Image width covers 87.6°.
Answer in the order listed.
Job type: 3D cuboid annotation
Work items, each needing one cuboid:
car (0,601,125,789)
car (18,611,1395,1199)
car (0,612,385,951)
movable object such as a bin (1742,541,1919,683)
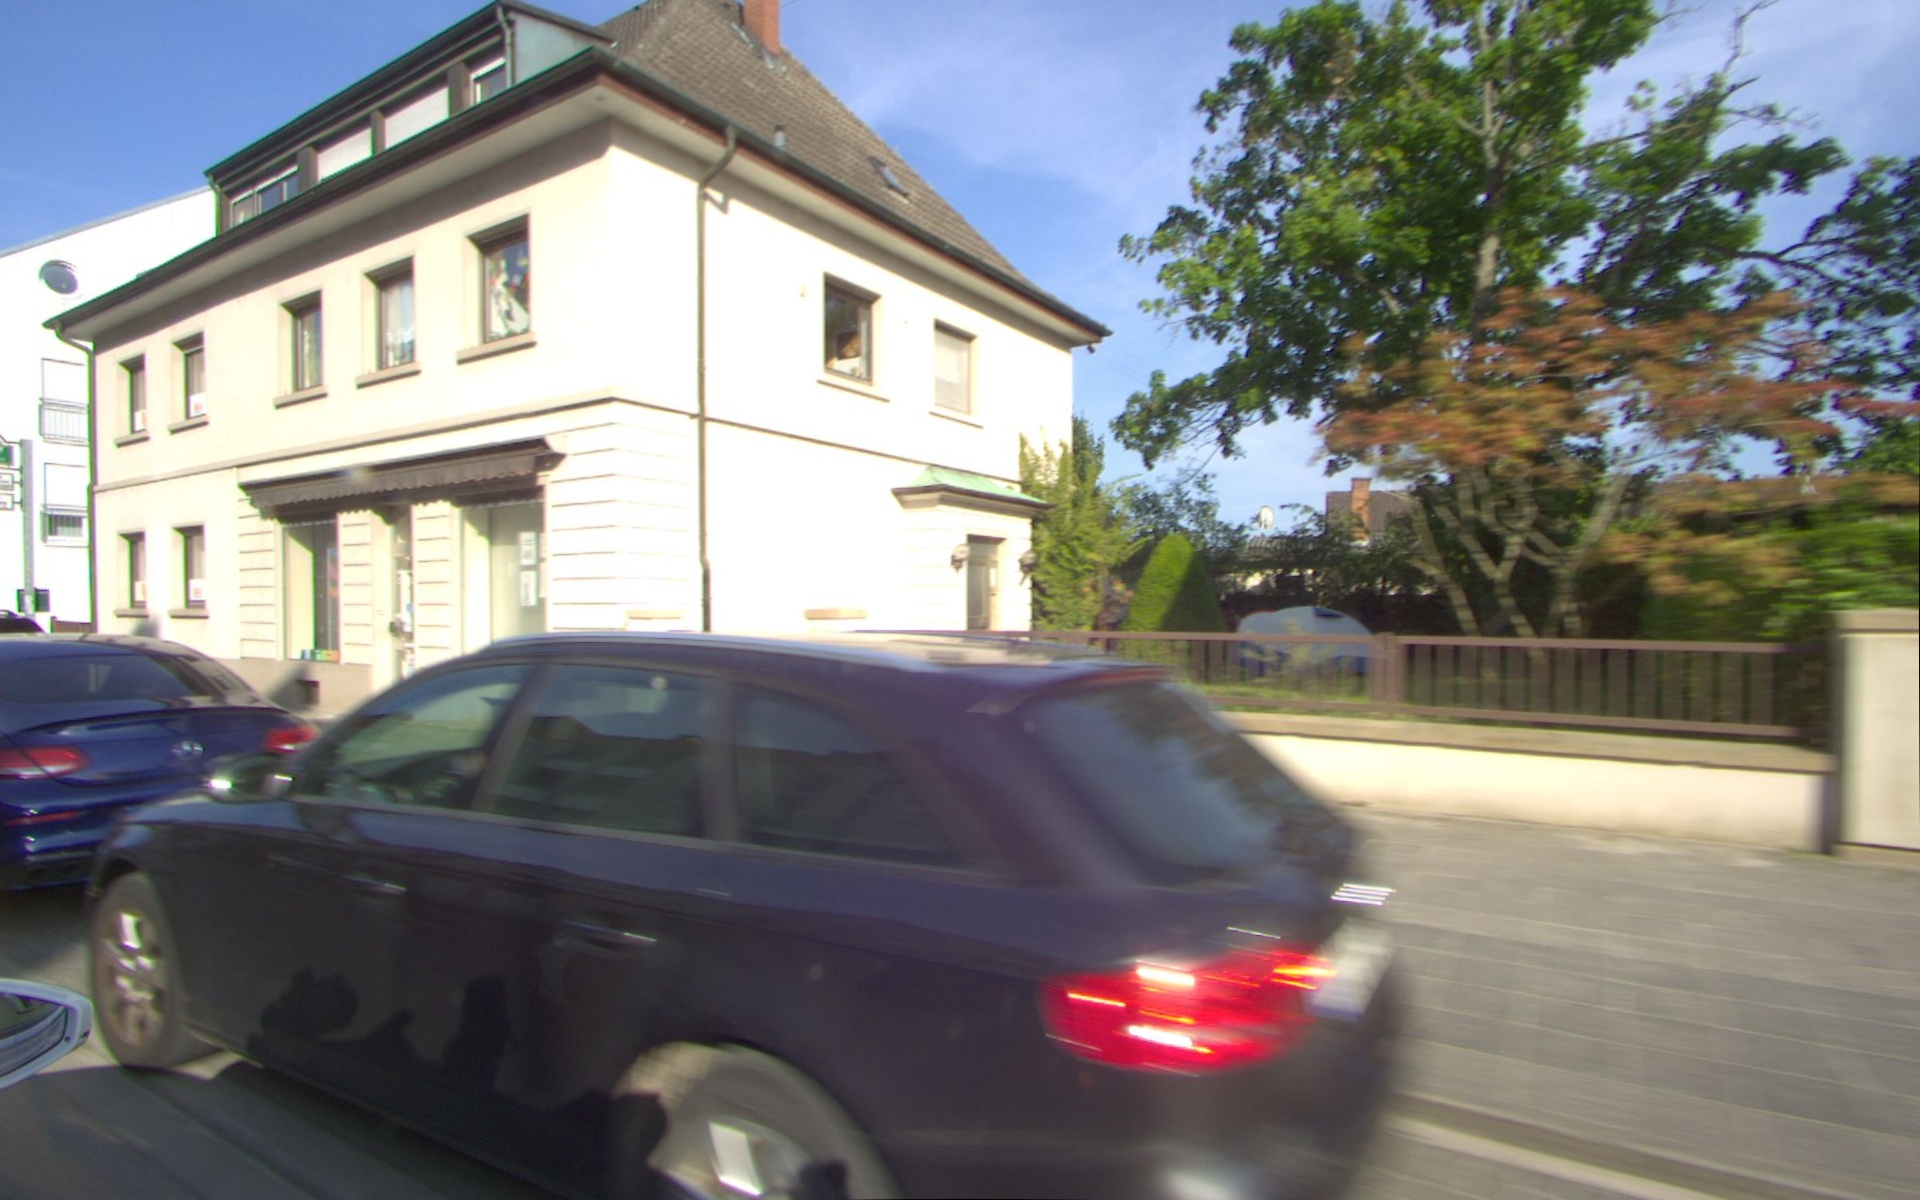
[{"bbox_3d":[-9.981,0.819,9.565,4.255,1.581,1.826,0,1,32],"label":"car"},{"bbox_3d":[-1.112,0.771,3.250,4.431,1.439,1.776,0,0,32],"label":"car"},{"bbox_3d":[-5.681,0.810,6.203,4.544,1.439,1.826,0,0,33],"label":"car"},{"bbox_3d":[12.718,0.137,14.550,1.949,1.863,2.554,0,1,34],"label":"movable object such as a bin"}]
